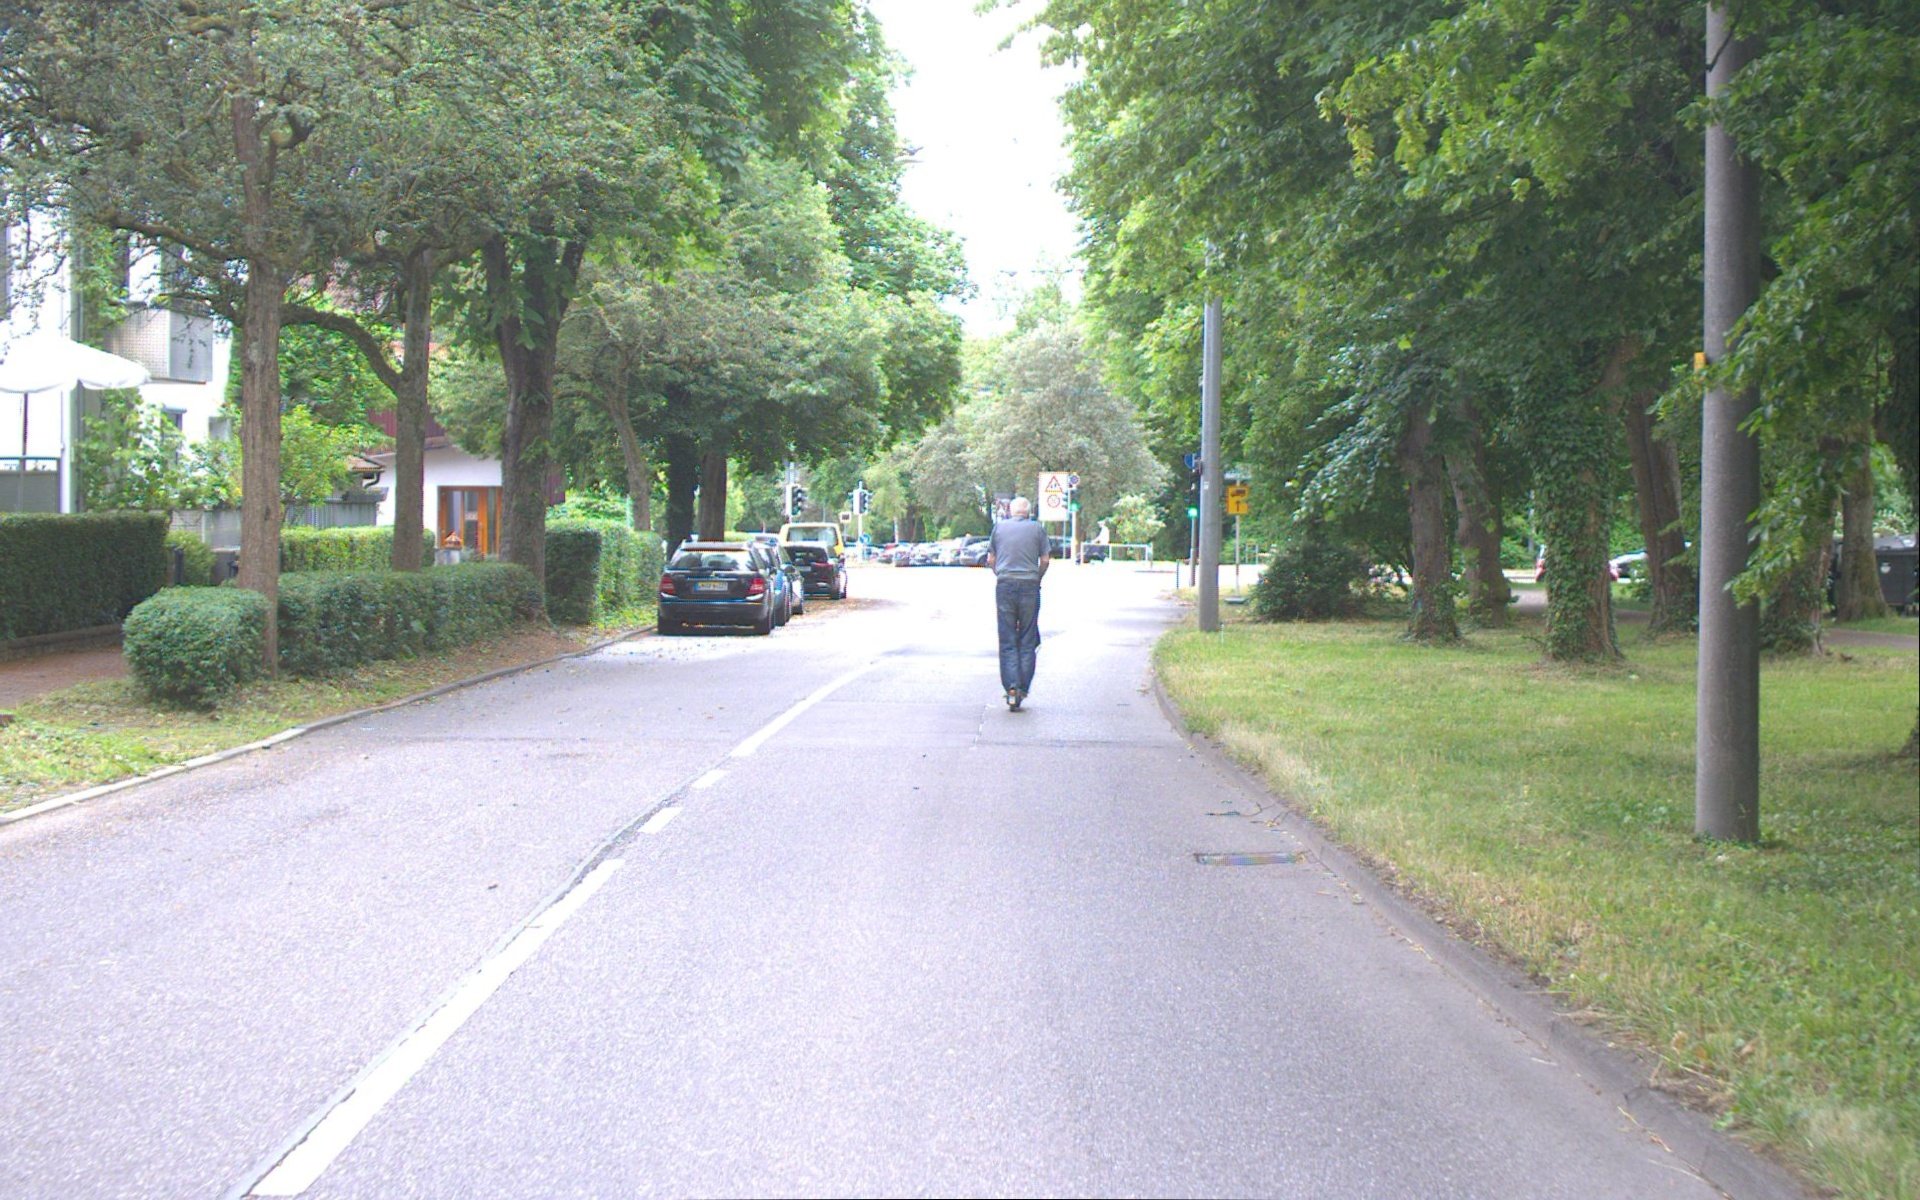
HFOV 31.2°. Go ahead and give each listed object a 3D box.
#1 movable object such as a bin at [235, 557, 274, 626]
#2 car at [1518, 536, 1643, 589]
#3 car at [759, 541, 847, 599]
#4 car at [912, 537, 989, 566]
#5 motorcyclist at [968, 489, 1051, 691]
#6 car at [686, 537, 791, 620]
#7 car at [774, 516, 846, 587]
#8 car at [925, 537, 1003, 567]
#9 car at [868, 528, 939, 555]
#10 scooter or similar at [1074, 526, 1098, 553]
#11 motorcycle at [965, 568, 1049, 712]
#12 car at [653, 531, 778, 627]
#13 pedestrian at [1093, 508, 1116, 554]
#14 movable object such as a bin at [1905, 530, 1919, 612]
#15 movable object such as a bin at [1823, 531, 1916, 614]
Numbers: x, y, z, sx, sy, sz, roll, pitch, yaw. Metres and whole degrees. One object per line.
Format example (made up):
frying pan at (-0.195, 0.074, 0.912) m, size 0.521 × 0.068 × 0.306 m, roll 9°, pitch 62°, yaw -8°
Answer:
movable object such as a bin at (-9.426, -0.115, 45.952) m, size 0.456 × 0.912 × 0.508 m, roll 0°, pitch 1°, yaw -5°
car at (20.733, -1.273, 114.817) m, size 3.989 × 1.551 × 1.799 m, roll 2°, pitch 4°, yaw 13°
car at (-3.881, -0.742, 85.689) m, size 1.892 × 1.405 × 4.554 m, roll 0°, pitch 1°, yaw 1°
car at (-0.510, -2.547, 179.281) m, size 3.986 × 1.505 × 1.800 m, roll 0°, pitch 1°, yaw -2°
motorcyclist at (0.442, -0.094, 30.546) m, size 0.673 × 1.755 × 0.639 m, roll 2°, pitch 1°, yaw 2°
car at (-3.803, -0.386, 59.573) m, size 1.664 × 1.387 × 3.707 m, roll 0°, pitch 1°, yaw -1°
car at (-4.228, -1.353, 96.469) m, size 1.857 × 1.957 × 4.505 m, roll 0°, pitch 0°, yaw -5°
car at (0.205, -2.476, 177.371) m, size 3.986 × 1.505 × 1.800 m, roll 0°, pitch 1°, yaw -2°
car at (-3.191, -3.303, 194.015) m, size 3.986 × 1.505 × 1.800 m, roll 0°, pitch 1°, yaw -2°
scooter or similar at (4.897, -2.335, 133.833) m, size 0.711 × 1.045 × 0.786 m, roll 0°, pitch 1°, yaw 20°
motorcycle at (0.424, 0.339, 30.313) m, size 0.673 × 1.213 × 1.274 m, roll 2°, pitch 1°, yaw 2°
car at (-3.854, -0.368, 54.783) m, size 1.794 × 1.467 × 4.418 m, roll 0°, pitch 1°, yaw -2°
pedestrian at (5.601, -2.684, 133.553) m, size 0.733 × 1.756 × 0.661 m, roll 0°, pitch 1°, yaw 20°
movable object such as a bin at (18.169, -0.537, 62.977) m, size 1.326 × 1.496 × 1.315 m, roll -1°, pitch 1°, yaw -2°
movable object such as a bin at (16.641, -0.514, 62.918) m, size 1.326 × 1.496 × 1.315 m, roll -1°, pitch 1°, yaw -2°
